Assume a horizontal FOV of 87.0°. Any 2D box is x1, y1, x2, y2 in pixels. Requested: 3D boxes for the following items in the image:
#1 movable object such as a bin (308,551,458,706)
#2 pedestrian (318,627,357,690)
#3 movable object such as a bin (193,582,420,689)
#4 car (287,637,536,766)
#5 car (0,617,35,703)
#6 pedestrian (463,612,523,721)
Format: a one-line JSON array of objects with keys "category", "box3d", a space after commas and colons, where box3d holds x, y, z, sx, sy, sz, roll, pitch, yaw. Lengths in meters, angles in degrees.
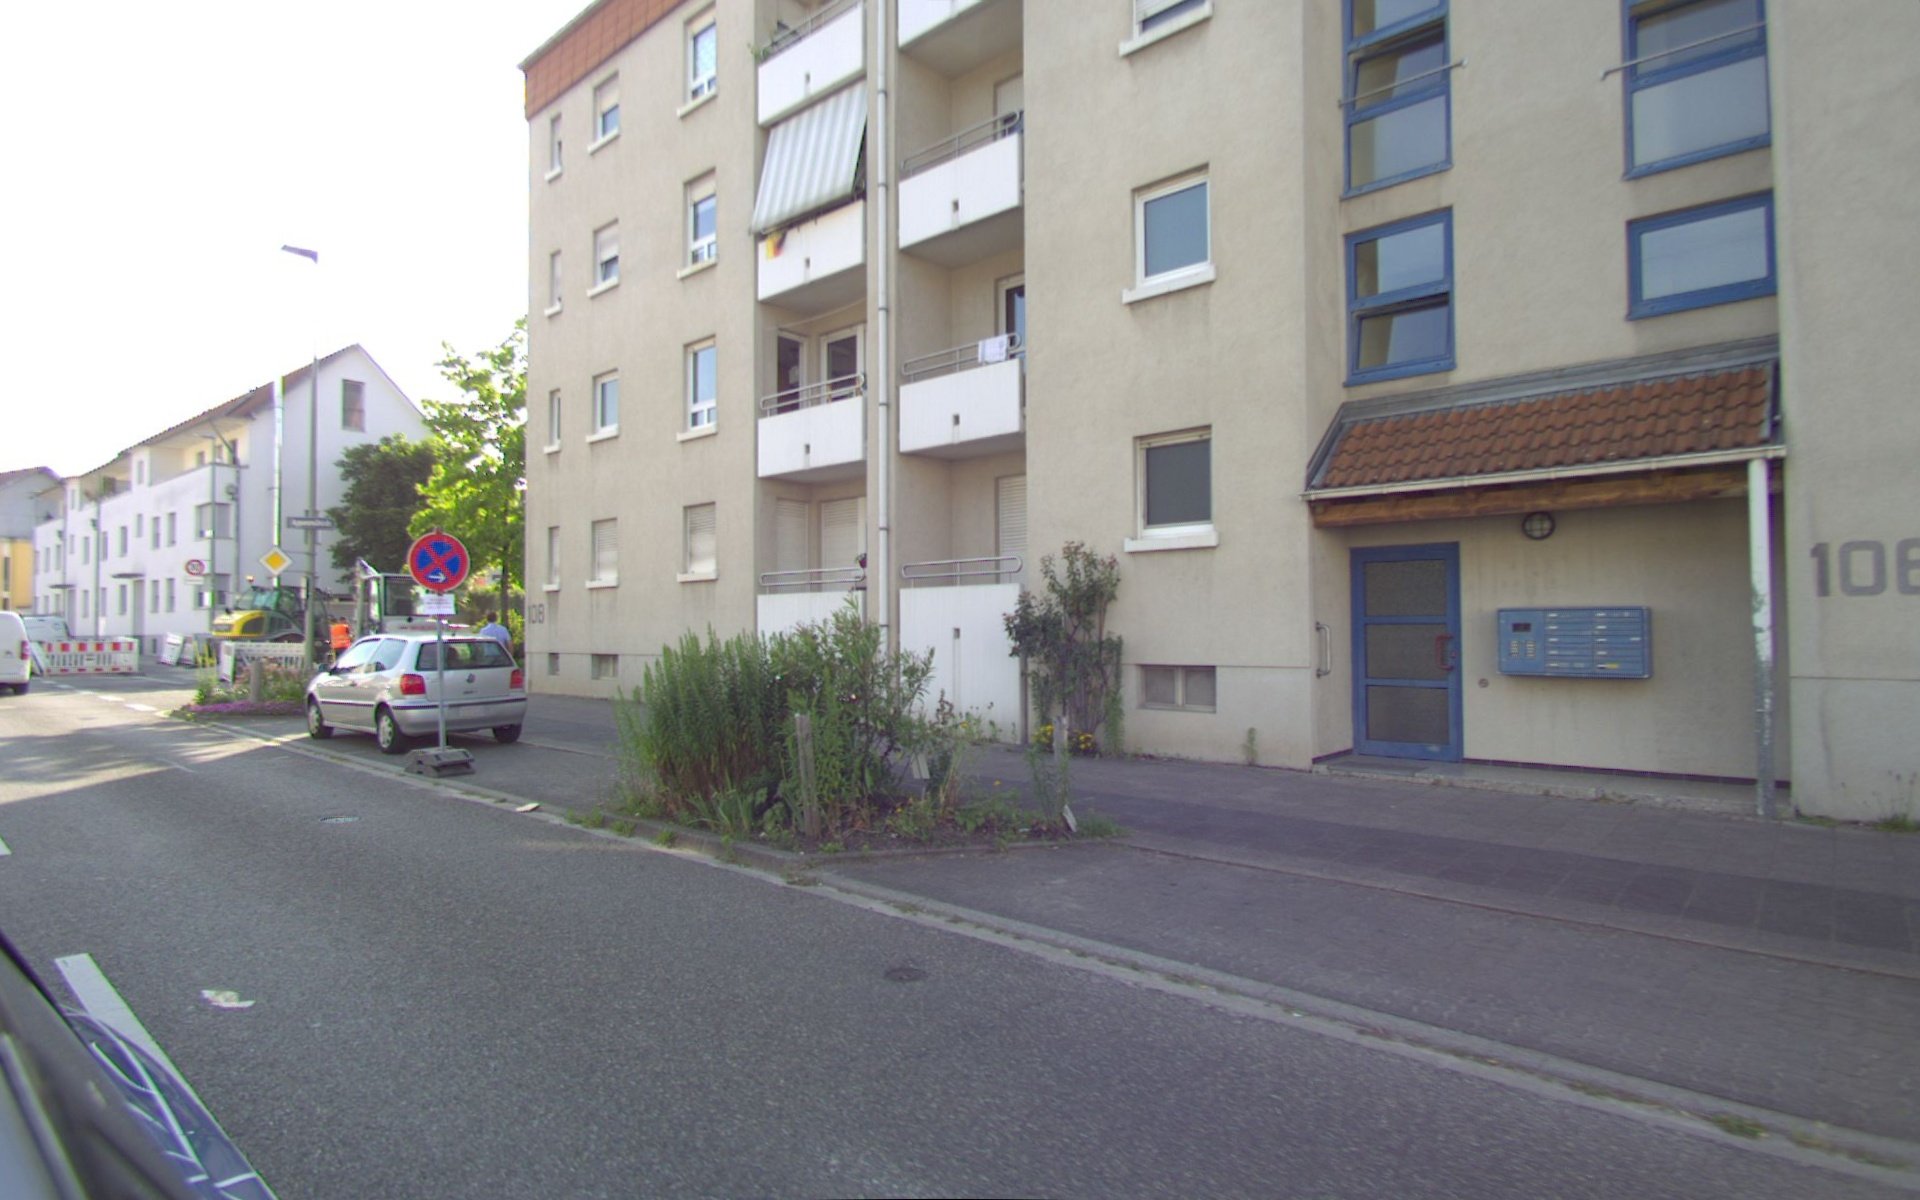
[{"category": "movable object such as a bin", "box3d": [-12.892, 0.661, 22.545, 3.897, 3.162, 1.631, -2, -3, 40]}, {"category": "pedestrian", "box3d": [-16.972, 1.575, 27.591, 0.993, 1.677, 0.661, -2, -2, 42]}, {"category": "movable object such as a bin", "box3d": [-19.552, 1.025, 30.591, 2.103, 2.923, 5.460, -2, -2, 29]}, {"category": "car", "box3d": [-7.156, 1.191, 13.079, 3.668, 1.406, 1.624, -2, -2, 40]}, {"category": "car", "box3d": [-21.909, 1.281, 22.148, 4.335, 1.780, 1.902, -2, -4, 41]}, {"category": "pedestrian", "box3d": [-8.143, 1.137, 17.632, 0.745, 1.832, 0.711, -3, -2, 42]}]
